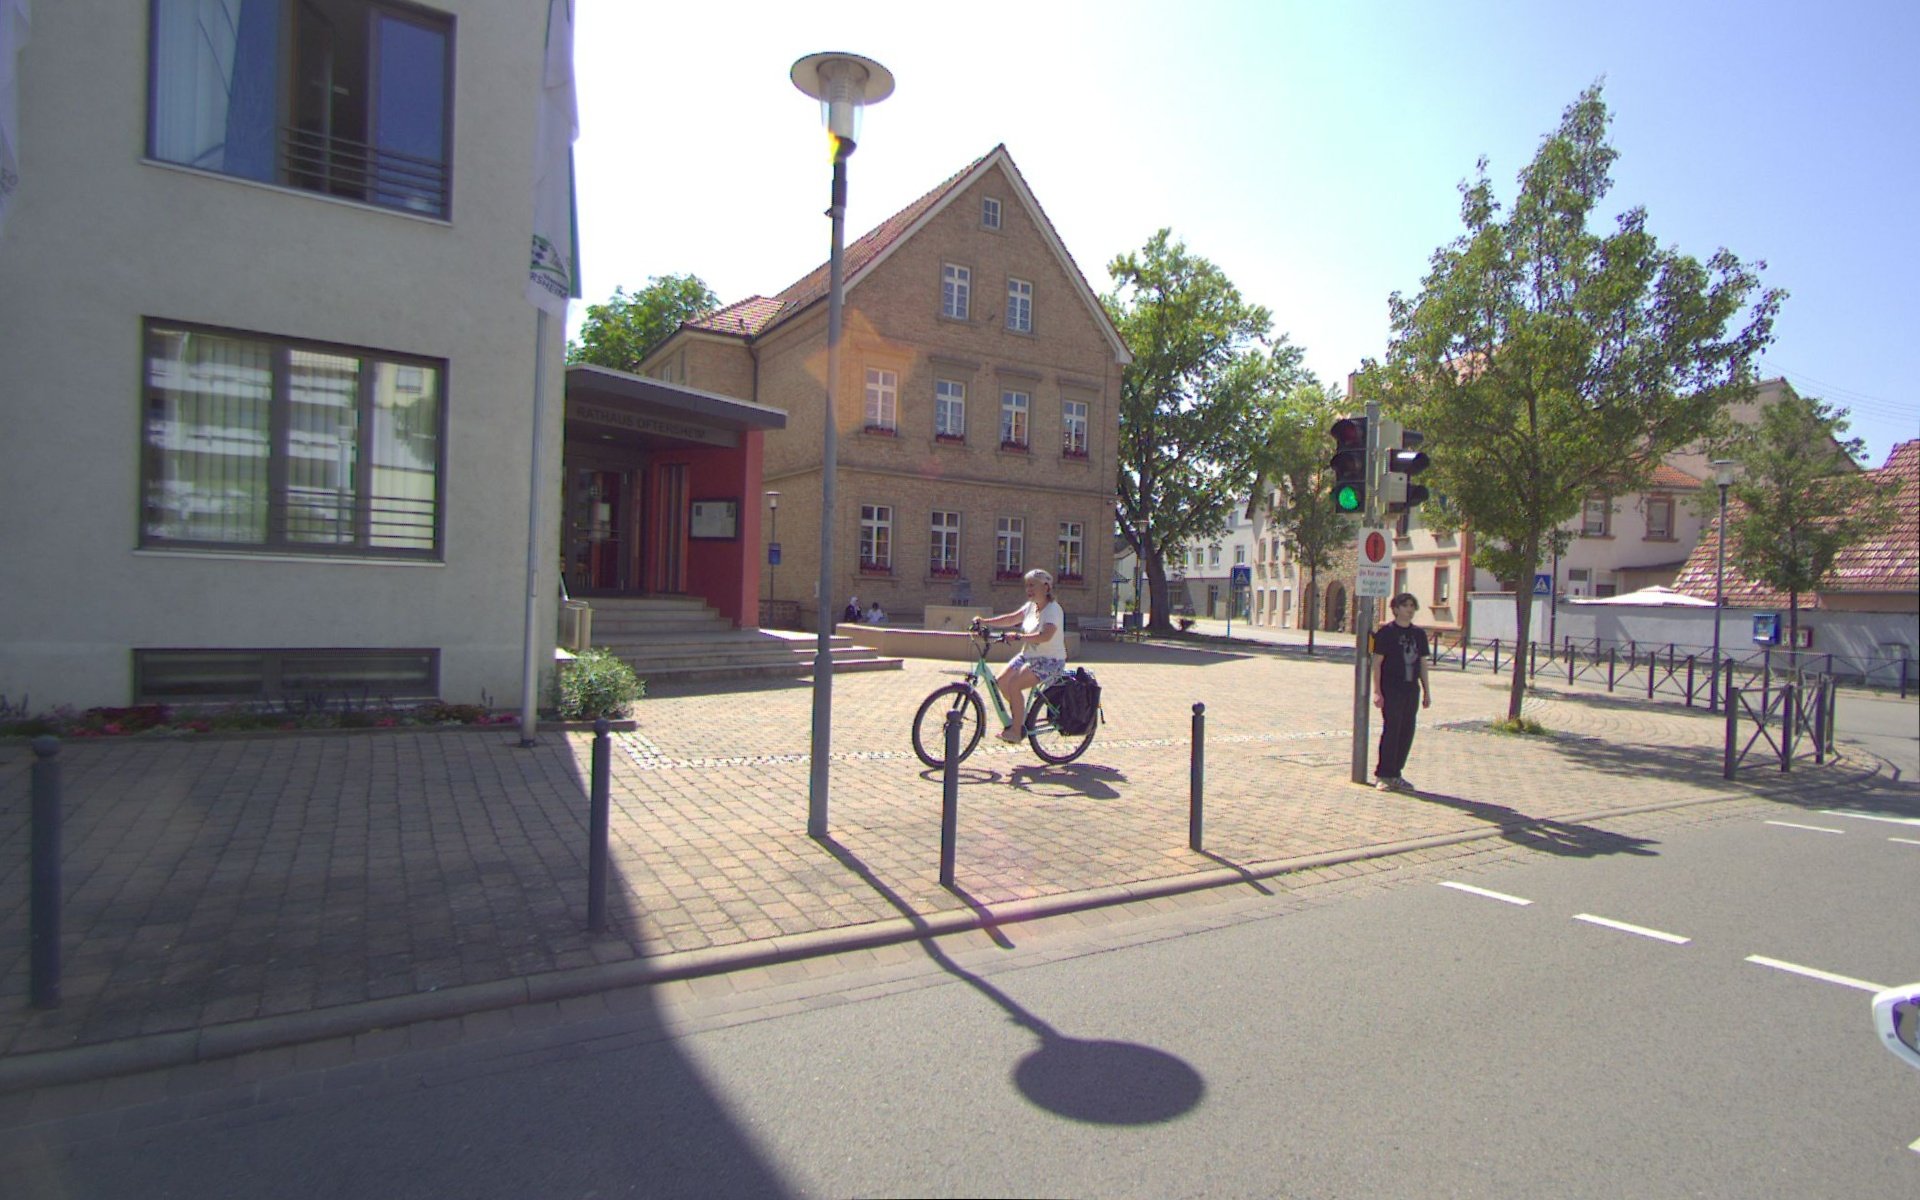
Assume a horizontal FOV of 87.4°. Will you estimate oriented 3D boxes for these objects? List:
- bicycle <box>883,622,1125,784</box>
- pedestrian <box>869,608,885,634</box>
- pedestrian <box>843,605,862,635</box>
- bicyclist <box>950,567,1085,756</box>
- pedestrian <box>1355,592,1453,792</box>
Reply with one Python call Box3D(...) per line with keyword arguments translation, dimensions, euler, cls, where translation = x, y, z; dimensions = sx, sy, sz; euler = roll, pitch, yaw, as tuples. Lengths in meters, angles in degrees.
Box3D(translation=(0.380, 0.859, 8.660), dimensions=(1.942, 1.269, 0.707), euler=(2, 0, -21), cls="bicycle")
Box3D(translation=(-2.376, 0.598, 28.851), dimensions=(0.352, 0.742, 0.288), euler=(2, 0, 43), cls="pedestrian")
Box3D(translation=(-3.030, 0.561, 28.356), dimensions=(0.356, 0.828, 0.365), euler=(2, 0, 42), cls="pedestrian")
Box3D(translation=(0.479, 0.514, 8.655), dimensions=(0.857, 1.526, 0.713), euler=(3, 3, -18), cls="bicyclist")
Box3D(translation=(3.818, 0.769, 8.673), dimensions=(0.546, 1.640, 0.550), euler=(3, 0, 4), cls="pedestrian")
